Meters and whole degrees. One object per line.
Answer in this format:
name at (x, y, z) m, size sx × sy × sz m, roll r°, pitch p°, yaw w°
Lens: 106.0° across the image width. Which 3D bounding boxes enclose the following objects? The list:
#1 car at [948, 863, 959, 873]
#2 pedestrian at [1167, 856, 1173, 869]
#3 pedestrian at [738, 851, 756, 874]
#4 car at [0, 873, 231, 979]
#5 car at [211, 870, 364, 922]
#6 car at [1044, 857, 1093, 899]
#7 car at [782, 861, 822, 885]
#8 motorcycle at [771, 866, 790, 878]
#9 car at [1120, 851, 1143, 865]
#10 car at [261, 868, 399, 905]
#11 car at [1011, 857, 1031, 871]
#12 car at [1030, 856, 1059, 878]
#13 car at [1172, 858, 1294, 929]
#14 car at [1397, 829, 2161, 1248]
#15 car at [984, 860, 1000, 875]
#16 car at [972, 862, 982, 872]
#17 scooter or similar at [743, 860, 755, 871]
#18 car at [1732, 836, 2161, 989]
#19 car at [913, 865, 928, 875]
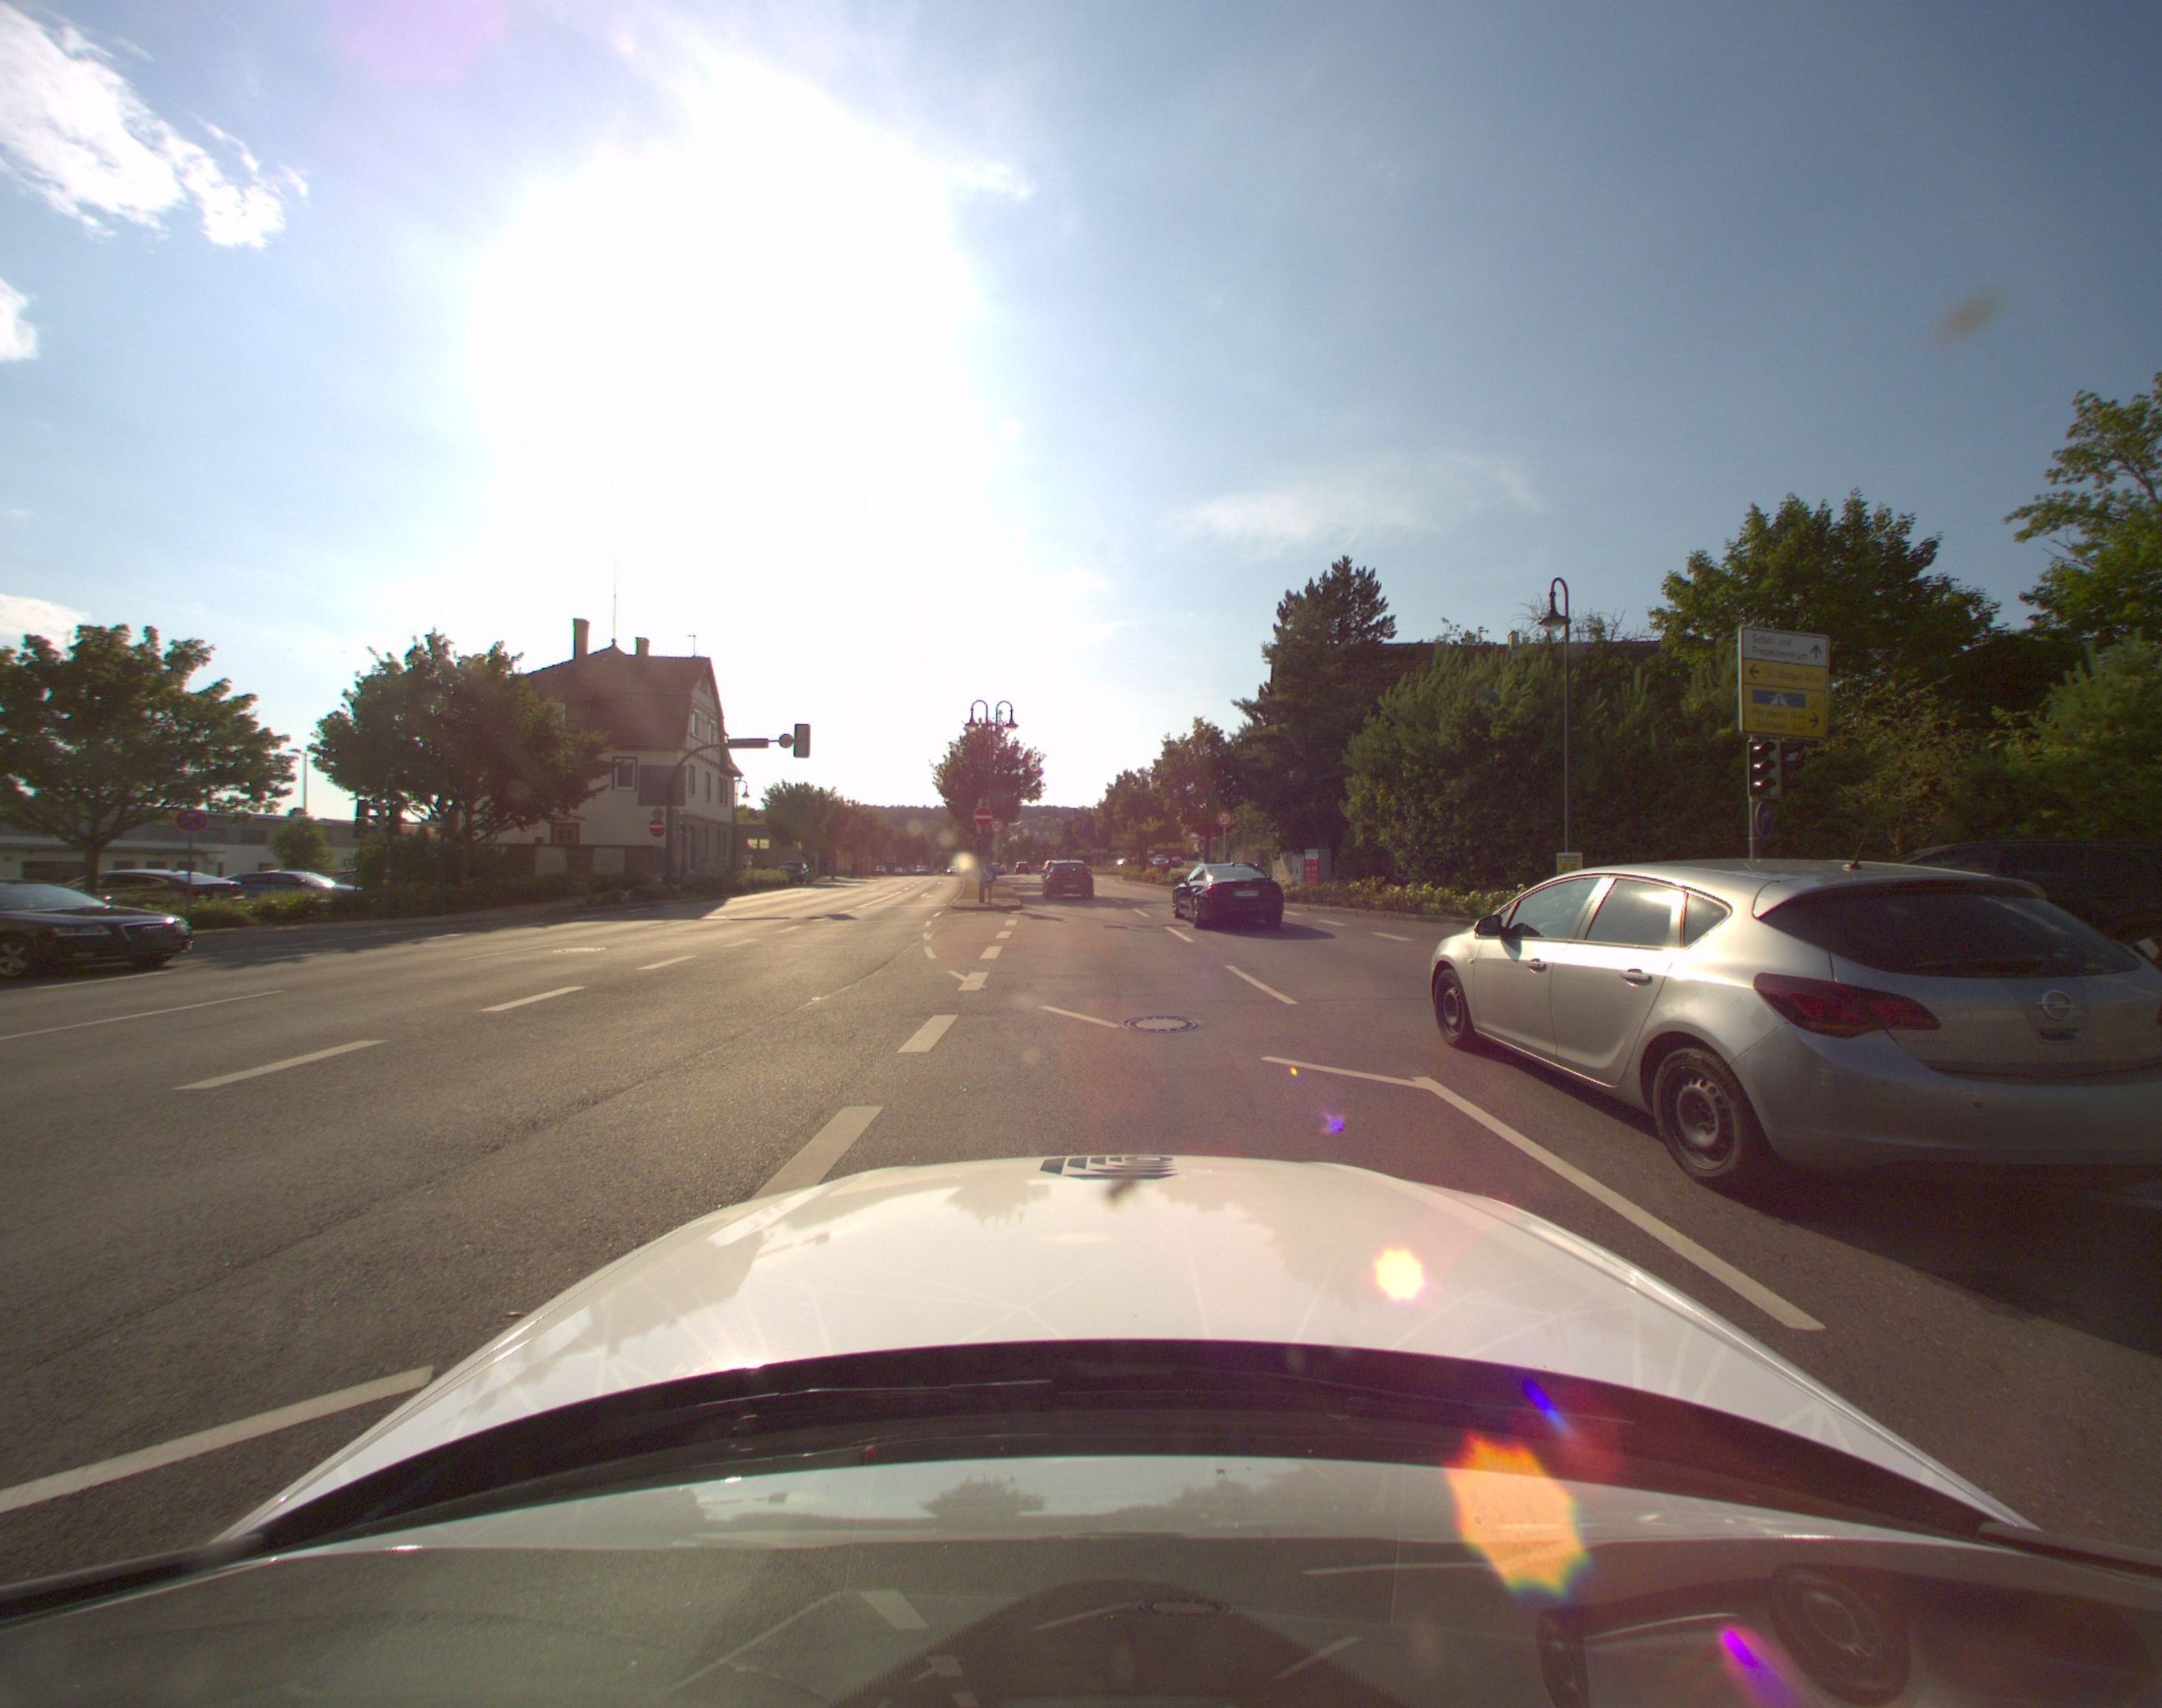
car at (-21.886, 2.459, 139.716) m, size 1.728 × 1.679 × 3.990 m, roll -1°, pitch 0°, yaw -7°
pedestrian at (11.831, 1.108, 107.982) m, size 0.693 × 1.703 × 0.949 m, roll -1°, pitch -1°, yaw -1°
pedestrian at (-20.107, 0.499, 49.018) m, size 0.812 × 1.394 × 0.704 m, roll -1°, pitch 0°, yaw -10°
car at (-16.386, 1.076, 12.395) m, size 4.842 × 1.436 × 1.917 m, roll -1°, pitch -1°, yaw 0°
car at (-27.123, 1.403, 27.950) m, size 3.287 × 1.639 × 1.742 m, roll -1°, pitch -1°, yaw -11°
car at (-0.511, 0.855, 30.929) m, size 1.716 × 1.490 × 4.350 m, roll 0°, pitch 0°, yaw -2°
car at (-18.817, 1.269, 55.104) m, size 1.755 × 1.454 × 4.120 m, roll 3°, pitch -1°, yaw -8°
motorcycle at (-28.919, 1.725, 78.409) m, size 0.511 × 1.069 × 1.881 m, roll -1°, pitch -1°, yaw 27°
car at (8.285, 0.617, 133.603) m, size 2.120 × 2.130 × 5.154 m, roll -1°, pitch 0°, yaw 24°
car at (-31.404, 1.336, 34.147) m, size 3.916 × 1.400 × 1.743 m, roll -1°, pitch -1°, yaw -8°
car at (-7.680, 1.279, 104.461) m, size 2.216 × 1.769 × 4.440 m, roll -1°, pitch 0°, yaw -9°
car at (-3.059, 1.043, 68.043) m, size 1.925 × 1.769 × 4.440 m, roll -1°, pitch 0°, yaw -9°
car at (3.257, 0.810, 18.364) m, size 1.914 × 1.364 × 4.352 m, roll -1°, pitch -1°, yaw 0°
car at (3.603, 0.653, 5.082) m, size 1.714 × 1.490 × 4.308 m, roll -1°, pitch 0°, yaw 2°
car at (-10.909, 1.641, 100.154) m, size 1.755 × 1.769 × 3.958 m, roll -1°, pitch 0°, yaw -9°
car at (-21.144, 2.691, 166.223) m, size 1.769 × 2.014 × 3.994 m, roll -1°, pitch 0°, yaw -4°
scooter or similar at (-19.609, 0.676, 48.162) m, size 0.443 × 0.582 × 1.040 m, roll -1°, pitch 0°, yaw -10°
car at (10.709, 0.613, 9.913) m, size 4.217 × 1.567 × 1.803 m, roll -1°, pitch 0°, yaw 43°
car at (-21.226, 2.110, 107.967) m, size 1.755 × 1.361 × 4.471 m, roll -1°, pitch 0°, yaw -9°
